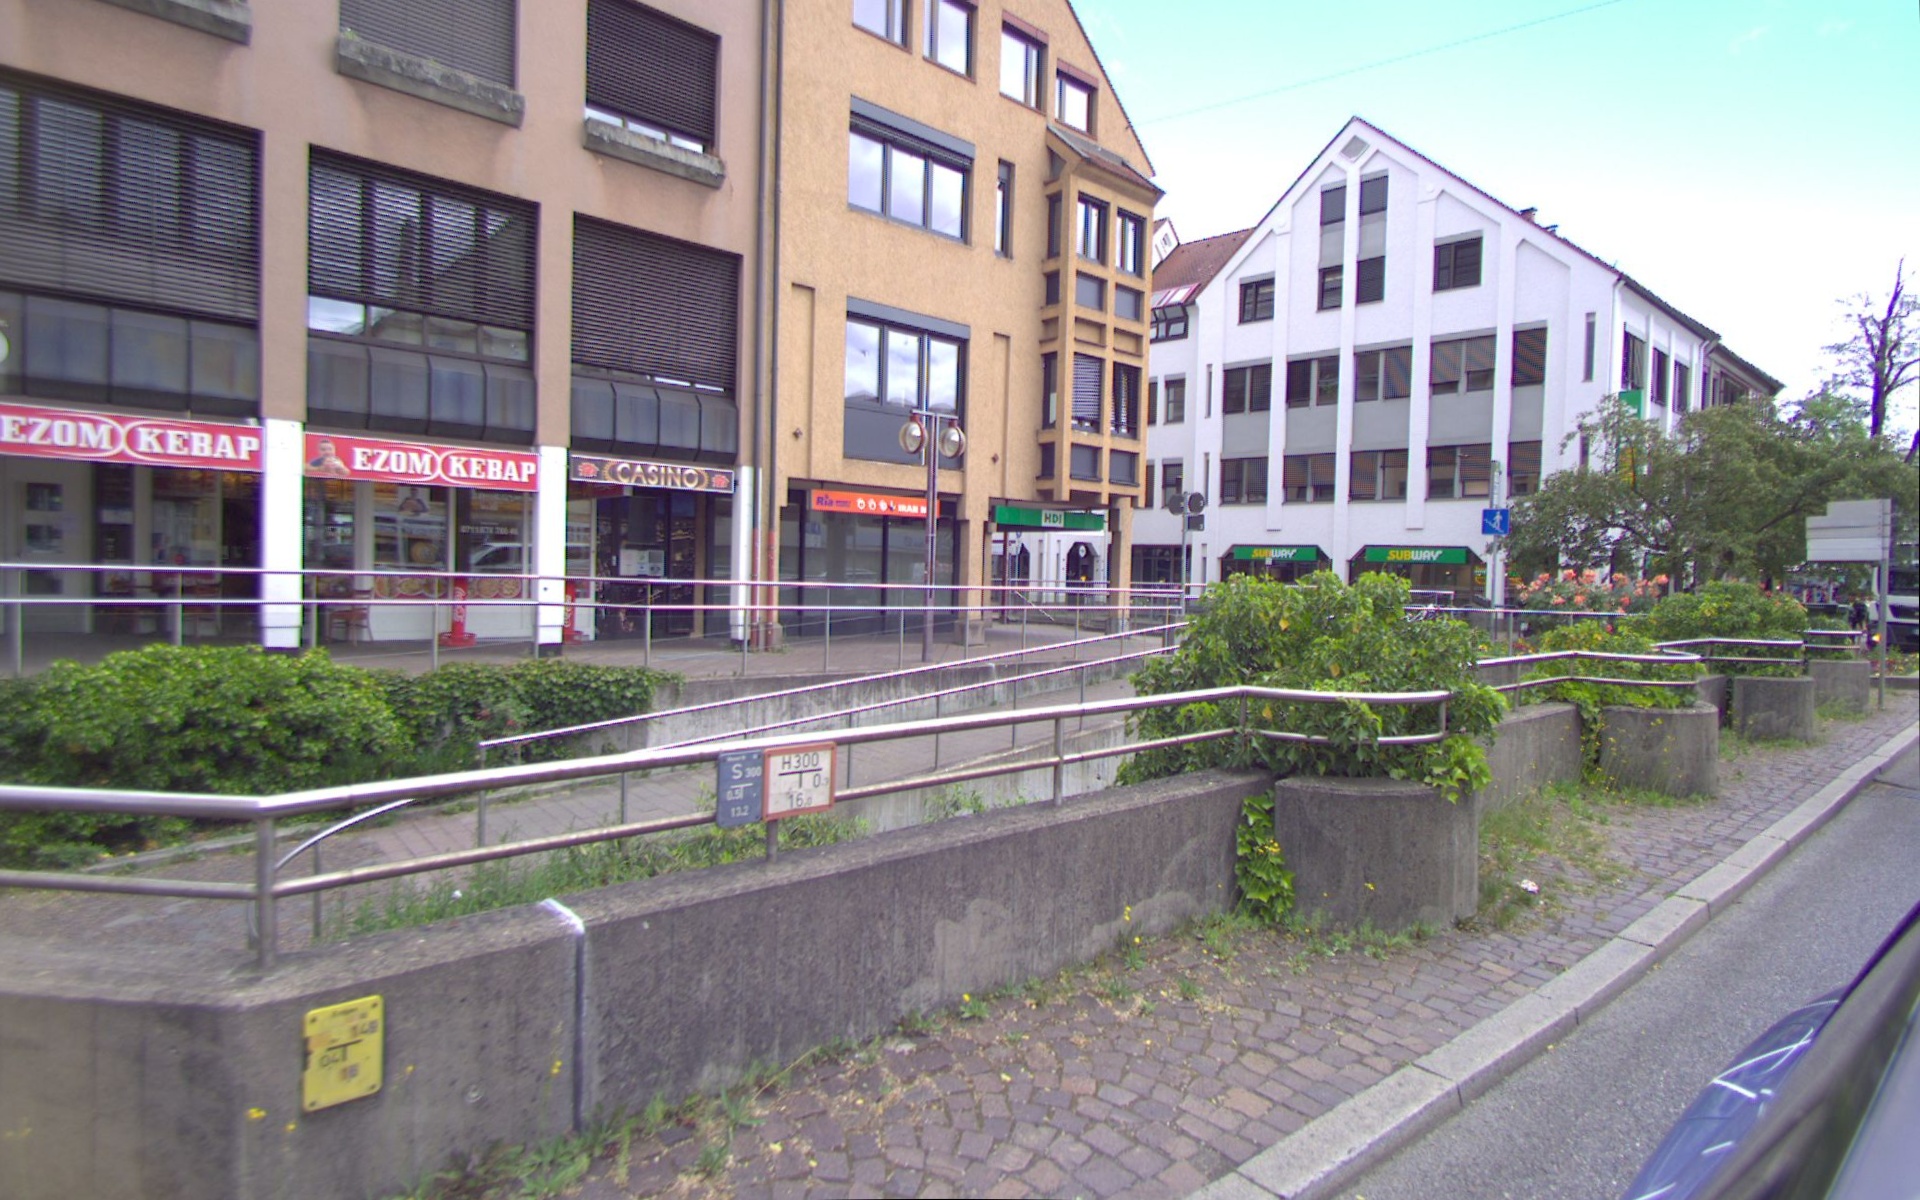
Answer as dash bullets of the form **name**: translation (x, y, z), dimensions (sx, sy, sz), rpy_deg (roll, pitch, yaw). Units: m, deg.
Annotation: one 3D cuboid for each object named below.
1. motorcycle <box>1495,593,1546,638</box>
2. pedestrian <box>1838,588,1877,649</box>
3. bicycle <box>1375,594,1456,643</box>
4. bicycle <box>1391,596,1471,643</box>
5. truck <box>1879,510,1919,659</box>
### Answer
- **motorcycle**: translation (14.106, 0.375, 25.461), dimensions (1.961, 1.081, 0.464), rpy_deg (0, 1, -41)
- **pedestrian**: translation (23.845, 0.478, 26.892), dimensions (0.672, 1.596, 0.653), rpy_deg (1, 1, -40)
- **bicycle**: translation (10.161, 0.408, 22.623), dimensions (1.584, 1.014, 0.409), rpy_deg (2, 1, 36)
- **bicycle**: translation (10.778, 0.434, 23.163), dimensions (1.583, 0.981, 0.456), rpy_deg (2, 1, 35)
- **truck**: translation (26.189, -0.383, 26.300), dimensions (8.201, 3.528, 2.444), rpy_deg (0, 0, -41)
